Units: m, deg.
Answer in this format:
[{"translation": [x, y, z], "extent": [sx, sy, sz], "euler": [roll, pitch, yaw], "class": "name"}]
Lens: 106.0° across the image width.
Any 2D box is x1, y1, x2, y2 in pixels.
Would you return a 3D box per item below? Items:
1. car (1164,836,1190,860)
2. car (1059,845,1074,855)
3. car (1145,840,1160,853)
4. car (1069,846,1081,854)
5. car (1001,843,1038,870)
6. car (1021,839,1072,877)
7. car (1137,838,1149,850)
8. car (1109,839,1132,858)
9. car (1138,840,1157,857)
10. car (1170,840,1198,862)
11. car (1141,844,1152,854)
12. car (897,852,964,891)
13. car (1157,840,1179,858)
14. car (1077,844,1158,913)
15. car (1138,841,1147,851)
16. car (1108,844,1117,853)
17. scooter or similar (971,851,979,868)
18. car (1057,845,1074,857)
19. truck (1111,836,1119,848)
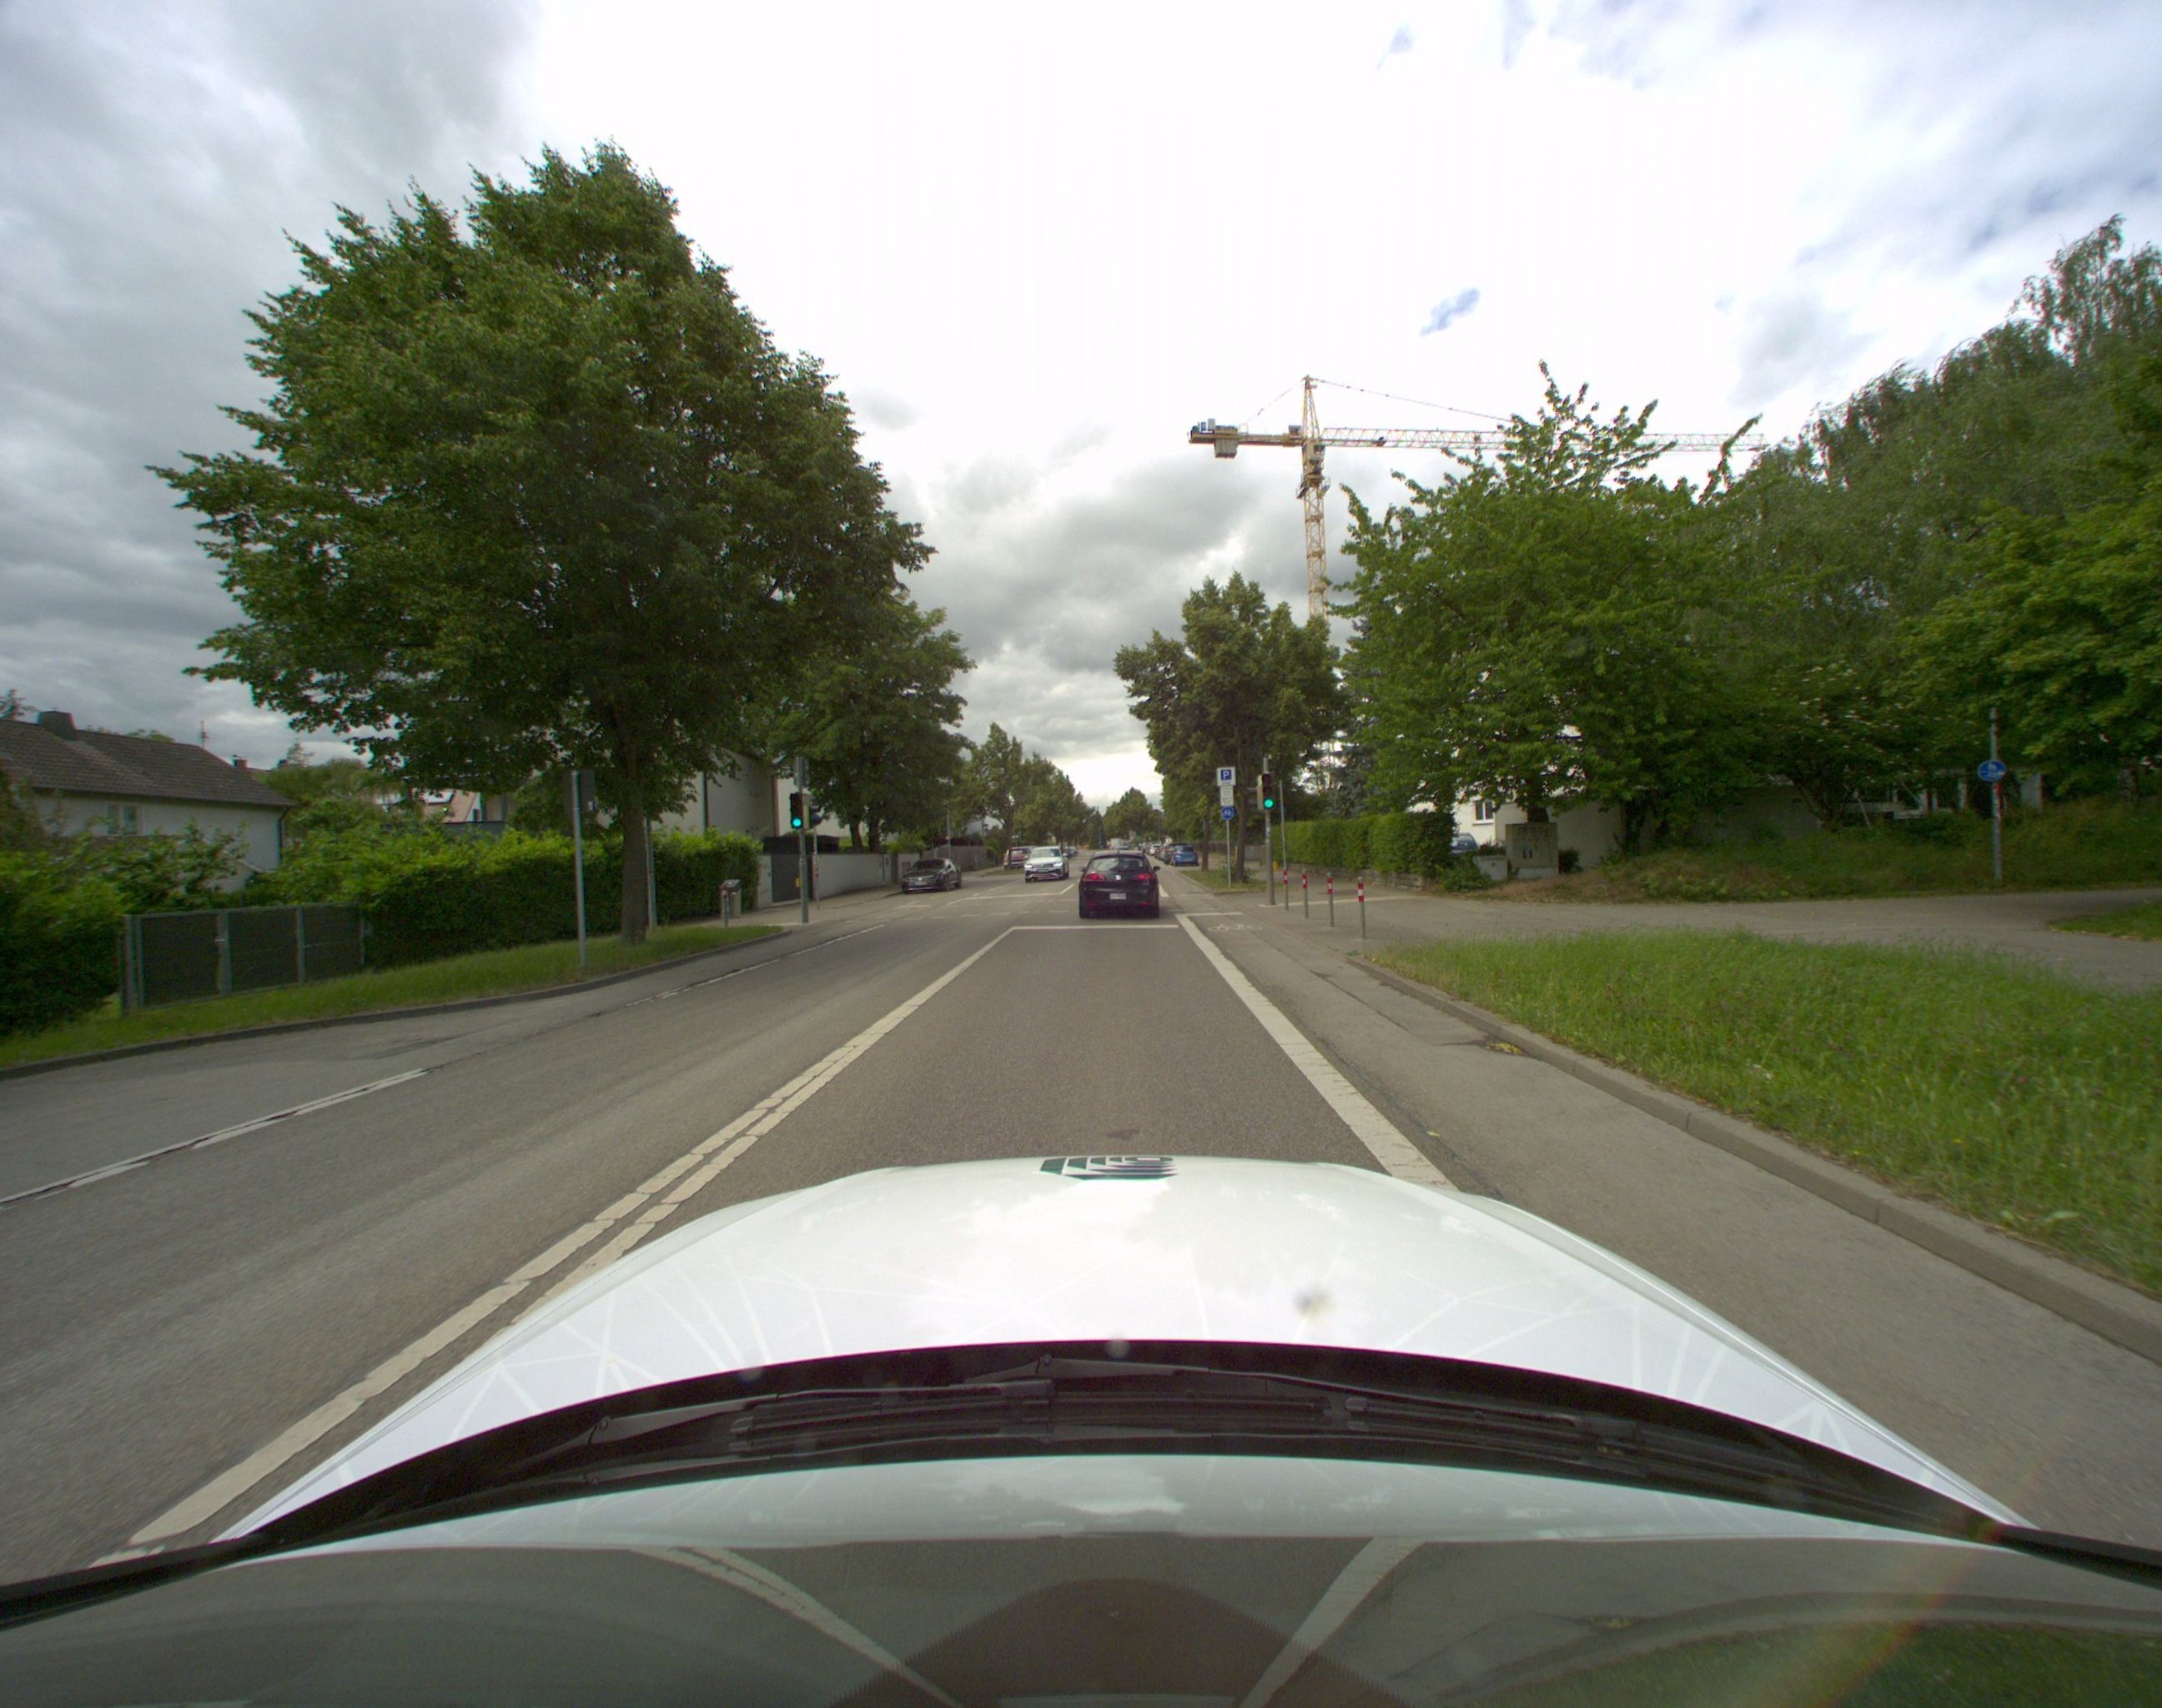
[{"translation": [7.457, -0.474, 63.630], "extent": [1.681, 1.711, 4.216], "euler": [-2, 0, 2], "class": "car"}, {"translation": [-2.319, -0.707, 134.311], "extent": [2.092, 1.506, 5.787], "euler": [-4, 0, 2], "class": "car"}, {"translation": [9.377, -0.994, 106.880], "extent": [1.681, 1.564, 4.216], "euler": [-2, 0, 2], "class": "car"}, {"translation": [-1.116, -0.765, 154.703], "extent": [2.092, 1.506, 5.787], "euler": [-4, 0, 2], "class": "car"}, {"translation": [-4.805, 0.142, 64.236], "extent": [2.092, 1.896, 5.787], "euler": [-4, 0, 2], "class": "car"}, {"translation": [-1.589, 0.154, 39.200], "extent": [1.866, 1.634, 4.346], "euler": [-4, 0, 4], "class": "car"}, {"translation": [10.473, -1.687, 137.869], "extent": [1.681, 1.875, 4.216], "euler": [-2, 0, 2], "class": "car"}, {"translation": [3.256, -0.418, 66.649], "extent": [1.838, 1.509, 3.815], "euler": [0, 0, 3], "class": "car"}, {"translation": [6.480, -0.531, 80.038], "extent": [1.681, 1.564, 4.216], "euler": [-2, 0, 2], "class": "car"}, {"translation": [7.384, -0.251, 58.412], "extent": [1.681, 1.490, 3.357], "euler": [-2, 0, 2], "class": "car"}, {"translation": [10.563, -0.792, 131.485], "extent": [1.681, 1.564, 4.216], "euler": [-2, 0, 2], "class": "car"}, {"translation": [-6.357, 0.693, 34.881], "extent": [1.711, 1.395, 4.804], "euler": [-4, 0, 2], "class": "car"}, {"translation": [8.167, -0.478, 76.753], "extent": [1.681, 1.564, 4.216], "euler": [-2, 0, 2], "class": "car"}, {"translation": [0.793, 0.495, 18.683], "extent": [1.657, 1.401, 3.812], "euler": [0, 0, 1], "class": "car"}, {"translation": [13.134, -1.724, 174.383], "extent": [1.681, 1.875, 4.216], "euler": [-2, 0, 2], "class": "car"}, {"translation": [6.304, -1.104, 162.888], "extent": [1.874, 1.689, 4.216], "euler": [-2, 0, 2], "class": "car"}, {"translation": [-7.967, 0.400, 61.035], "extent": [0.386, 1.230, 1.498], "euler": [-2, 0, -2], "class": "scooter or similar"}, {"translation": [-2.294, -0.477, 121.583], "extent": [2.092, 1.506, 5.787], "euler": [-4, 0, 2], "class": "car"}, {"translation": [9.312, -3.171, 222.922], "extent": [2.270, 3.103, 8.514], "euler": [0, 0, 2], "class": "truck"}]
